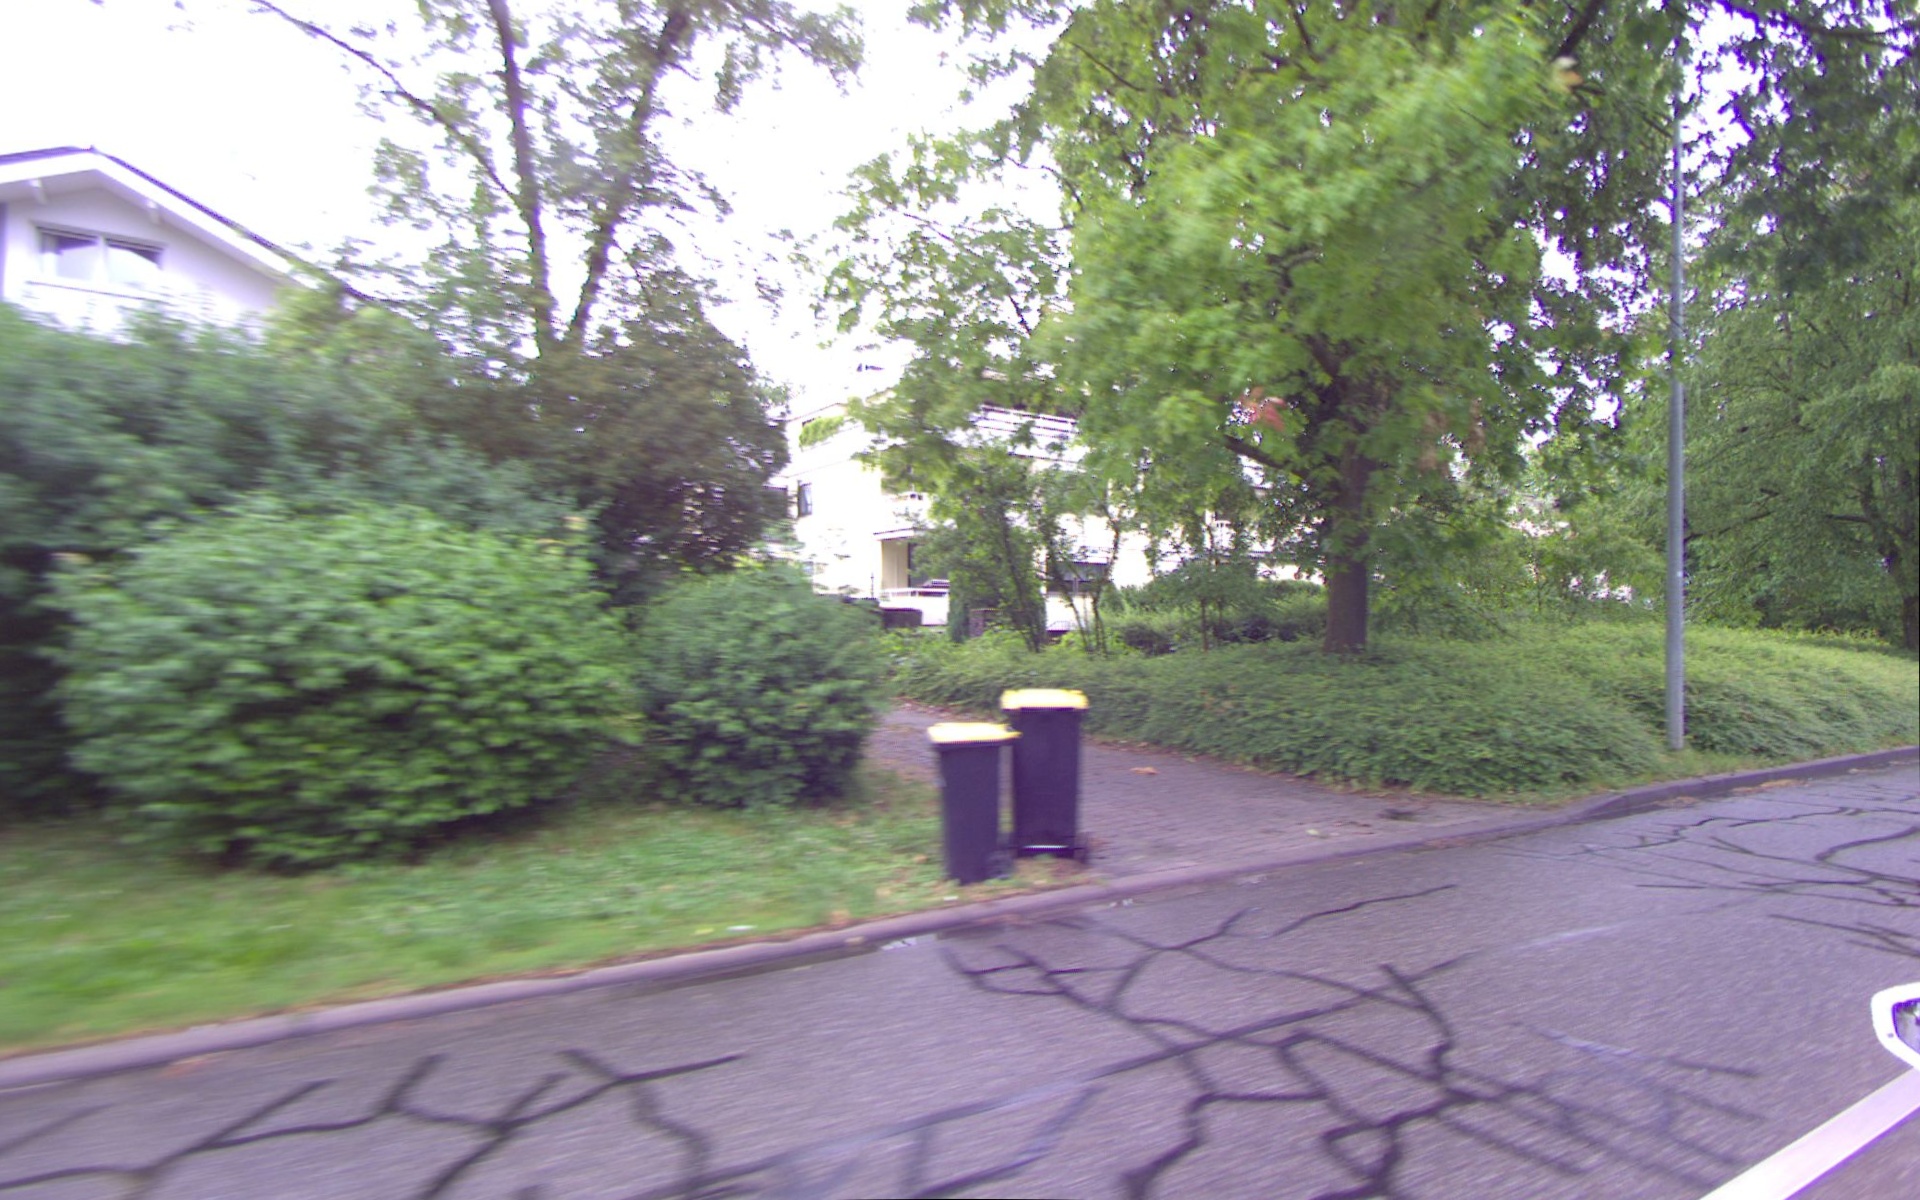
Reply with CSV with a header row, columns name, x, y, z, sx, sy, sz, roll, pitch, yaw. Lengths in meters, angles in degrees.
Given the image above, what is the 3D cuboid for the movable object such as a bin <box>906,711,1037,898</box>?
name,x,y,z,sx,sy,sz,roll,pitch,yaw
movable object such as a bin,0.059,1.213,6.152,0.571,0.992,0.645,1,-2,-28

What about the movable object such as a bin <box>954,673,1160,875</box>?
name,x,y,z,sx,sy,sz,roll,pitch,yaw
movable object such as a bin,0.624,1.098,6.733,0.954,1.120,1.033,1,1,-28
